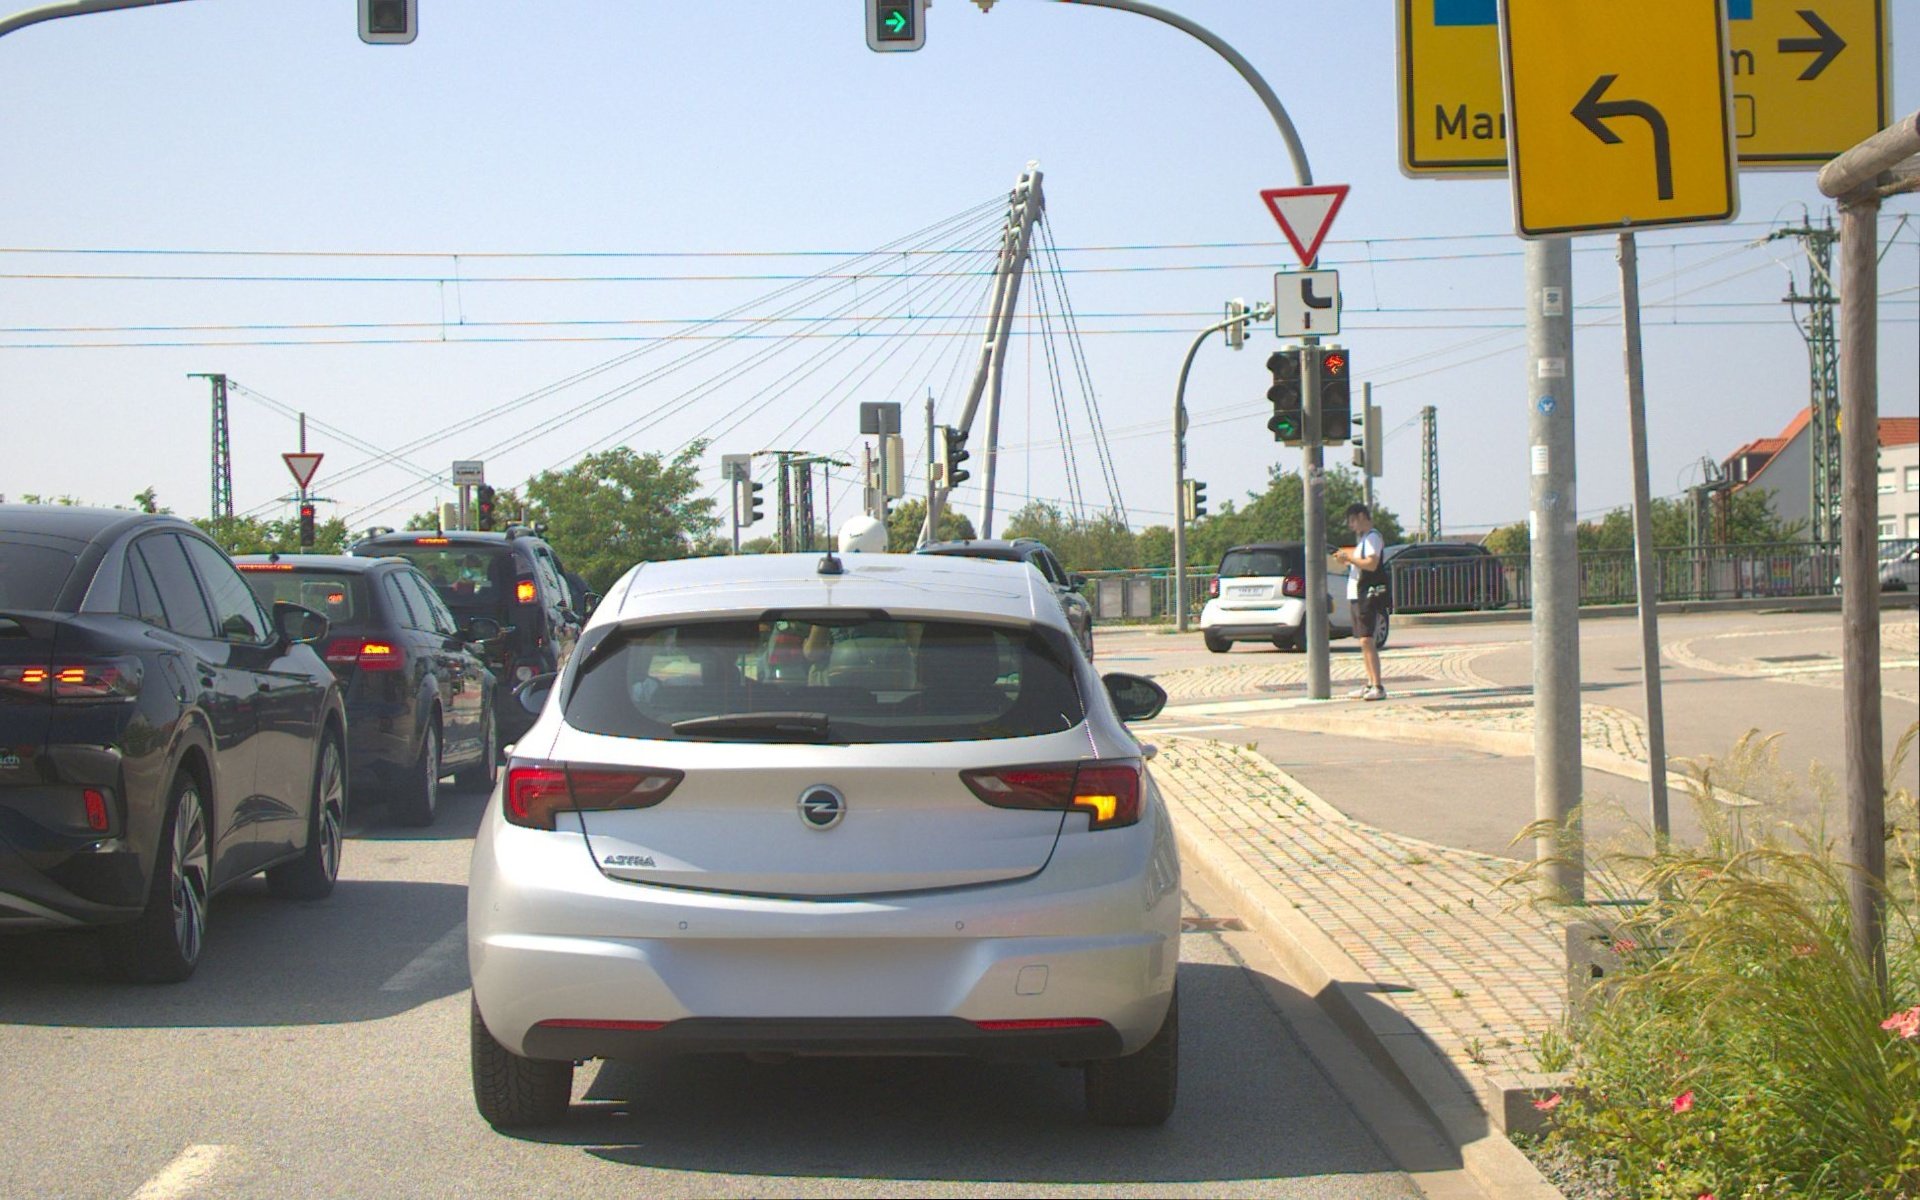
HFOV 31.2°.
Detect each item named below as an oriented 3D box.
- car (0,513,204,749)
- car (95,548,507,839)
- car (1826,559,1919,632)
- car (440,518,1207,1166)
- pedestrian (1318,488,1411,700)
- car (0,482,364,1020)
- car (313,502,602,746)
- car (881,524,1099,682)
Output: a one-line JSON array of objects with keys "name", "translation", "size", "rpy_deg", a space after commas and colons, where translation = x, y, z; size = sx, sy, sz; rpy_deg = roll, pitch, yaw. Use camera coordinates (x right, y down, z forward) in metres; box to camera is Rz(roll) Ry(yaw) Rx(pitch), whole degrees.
[{"name": "car", "translation": [-6.520, 0.177, 24.397], "size": [1.597, 1.542, 3.763], "rpy_deg": [1, 1, -2]}, {"name": "car", "translation": [-3.533, 0.447, 19.015], "size": [1.575, 1.429, 3.786], "rpy_deg": [1, 1, -1]}, {"name": "car", "translation": [20.139, -0.085, 71.760], "size": [3.623, 1.481, 1.691], "rpy_deg": [1, 0, -14]}, {"name": "car", "translation": [-0.395, 0.542, 9.915], "size": [1.743, 1.473, 4.000], "rpy_deg": [1, 1, -2]}, {"name": "pedestrian", "translation": [3.566, -0.054, 30.360], "size": [0.647, 1.830, 0.798], "rpy_deg": [-2, 0, -2]}, {"name": "car", "translation": [-3.484, 0.428, 12.661], "size": [1.801, 1.636, 4.366], "rpy_deg": [1, 1, 0]}, {"name": "car", "translation": [-3.565, 0.146, 24.928], "size": [1.649, 1.610, 3.821], "rpy_deg": [1, 1, -2]}, {"name": "car", "translation": [0.382, -0.012, 36.954], "size": [1.724, 1.558, 3.999], "rpy_deg": [1, 2, 9]}]
